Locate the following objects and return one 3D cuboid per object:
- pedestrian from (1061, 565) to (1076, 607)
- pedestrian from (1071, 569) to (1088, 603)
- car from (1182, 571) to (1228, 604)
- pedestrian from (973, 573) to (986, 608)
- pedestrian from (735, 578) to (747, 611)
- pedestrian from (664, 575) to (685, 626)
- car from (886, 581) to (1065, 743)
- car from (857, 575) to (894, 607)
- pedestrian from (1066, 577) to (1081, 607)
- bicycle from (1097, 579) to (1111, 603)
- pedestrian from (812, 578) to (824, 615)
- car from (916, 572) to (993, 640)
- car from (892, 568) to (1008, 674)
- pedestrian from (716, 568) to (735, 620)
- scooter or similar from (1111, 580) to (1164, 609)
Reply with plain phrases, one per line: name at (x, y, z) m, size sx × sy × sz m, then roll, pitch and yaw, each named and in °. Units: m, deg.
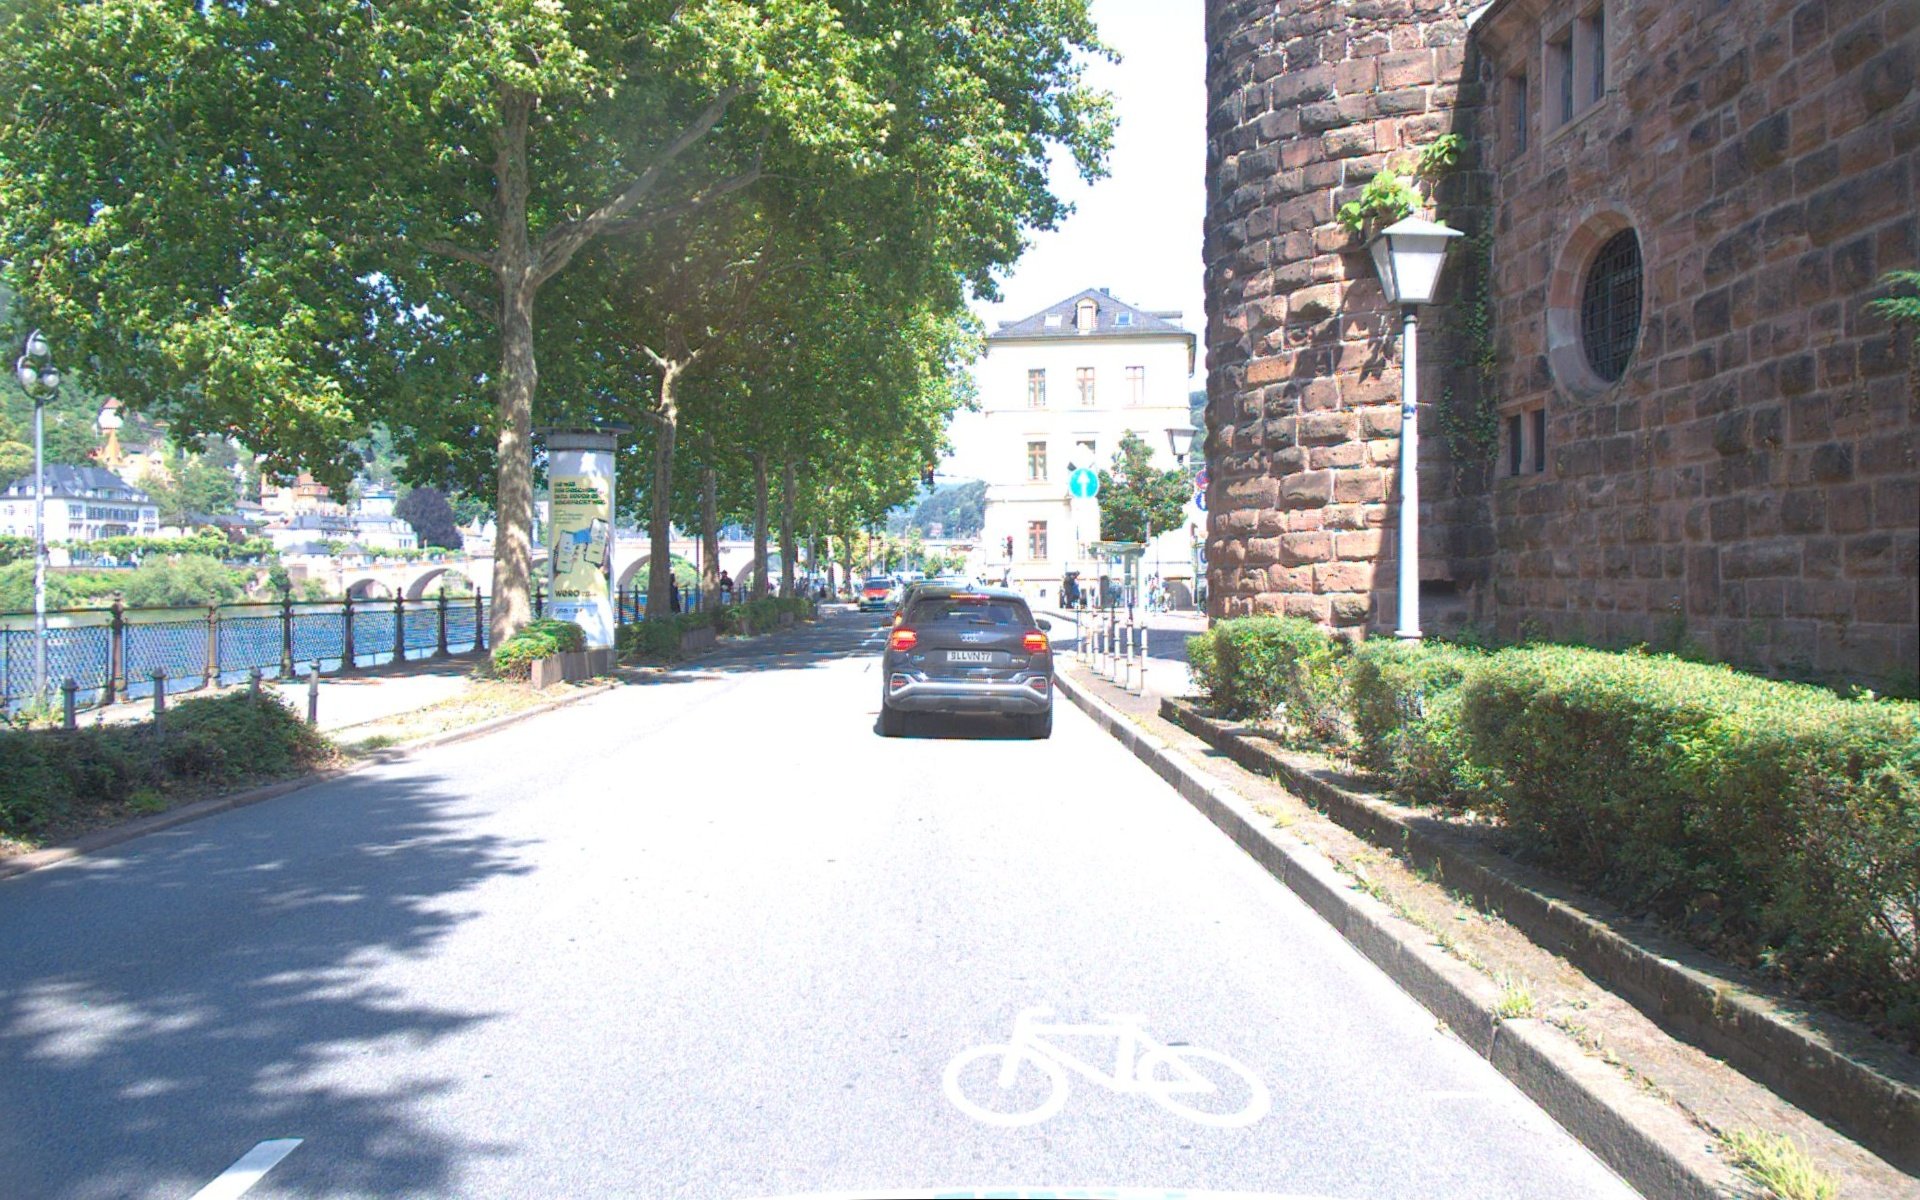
pedestrian at (4.380, -0.569, 66.961) m, size 0.545 × 1.661 × 0.660 m, roll 1°, pitch 0°, yaw 0°
pedestrian at (5.579, -0.654, 77.174) m, size 0.731 × 1.585 × 0.588 m, roll 1°, pitch 0°, yaw 0°
car at (13.598, -0.687, 92.026) m, size 1.953 × 1.746 × 4.000 m, roll 2°, pitch 0°, yaw 0°
pedestrian at (0.894, -0.424, 74.439) m, size 0.545 × 1.585 × 0.660 m, roll 1°, pitch 0°, yaw 0°
pedestrian at (-10.632, -0.255, 80.336) m, size 0.488 × 1.564 × 0.679 m, roll 2°, pitch 0°, yaw -8°
pedestrian at (-9.891, 0.013, 57.276) m, size 0.632 × 1.747 × 0.665 m, roll 1°, pitch 0°, yaw -4°
car at (0.097, 0.586, 17.903) m, size 1.713 × 1.520 × 3.628 m, roll 1°, pitch 1°, yaw -2°
car at (-4.173, -0.460, 82.039) m, size 1.581 × 1.549 × 3.477 m, roll -1°, pitch 1°, yaw 1°
pedestrian at (4.664, -0.316, 68.045) m, size 0.535 × 1.222 × 0.522 m, roll 2°, pitch 0°, yaw 0°
bicycle at (6.105, -0.379, 70.057) m, size 0.441 × 0.991 × 1.399 m, roll 2°, pitch 0°, yaw 0°
pedestrian at (-6.527, -0.170, 75.993) m, size 0.507 × 1.666 × 0.438 m, roll -1°, pitch 0°, yaw -8°
car at (-0.136, 0.114, 40.535) m, size 1.764 × 1.549 × 3.716 m, roll -1°, pitch 1°, yaw 0°
car at (-0.157, 0.301, 27.446) m, size 1.764 × 1.589 × 3.716 m, roll -1°, pitch 1°, yaw 0°
pedestrian at (-8.176, -0.214, 57.588) m, size 0.552 × 1.772 × 0.665 m, roll -1°, pitch 0°, yaw -4°
scooter or similar at (6.350, -0.189, 59.186) m, size 1.808 × 0.980 × 0.429 m, roll 2°, pitch 0°, yaw -1°
